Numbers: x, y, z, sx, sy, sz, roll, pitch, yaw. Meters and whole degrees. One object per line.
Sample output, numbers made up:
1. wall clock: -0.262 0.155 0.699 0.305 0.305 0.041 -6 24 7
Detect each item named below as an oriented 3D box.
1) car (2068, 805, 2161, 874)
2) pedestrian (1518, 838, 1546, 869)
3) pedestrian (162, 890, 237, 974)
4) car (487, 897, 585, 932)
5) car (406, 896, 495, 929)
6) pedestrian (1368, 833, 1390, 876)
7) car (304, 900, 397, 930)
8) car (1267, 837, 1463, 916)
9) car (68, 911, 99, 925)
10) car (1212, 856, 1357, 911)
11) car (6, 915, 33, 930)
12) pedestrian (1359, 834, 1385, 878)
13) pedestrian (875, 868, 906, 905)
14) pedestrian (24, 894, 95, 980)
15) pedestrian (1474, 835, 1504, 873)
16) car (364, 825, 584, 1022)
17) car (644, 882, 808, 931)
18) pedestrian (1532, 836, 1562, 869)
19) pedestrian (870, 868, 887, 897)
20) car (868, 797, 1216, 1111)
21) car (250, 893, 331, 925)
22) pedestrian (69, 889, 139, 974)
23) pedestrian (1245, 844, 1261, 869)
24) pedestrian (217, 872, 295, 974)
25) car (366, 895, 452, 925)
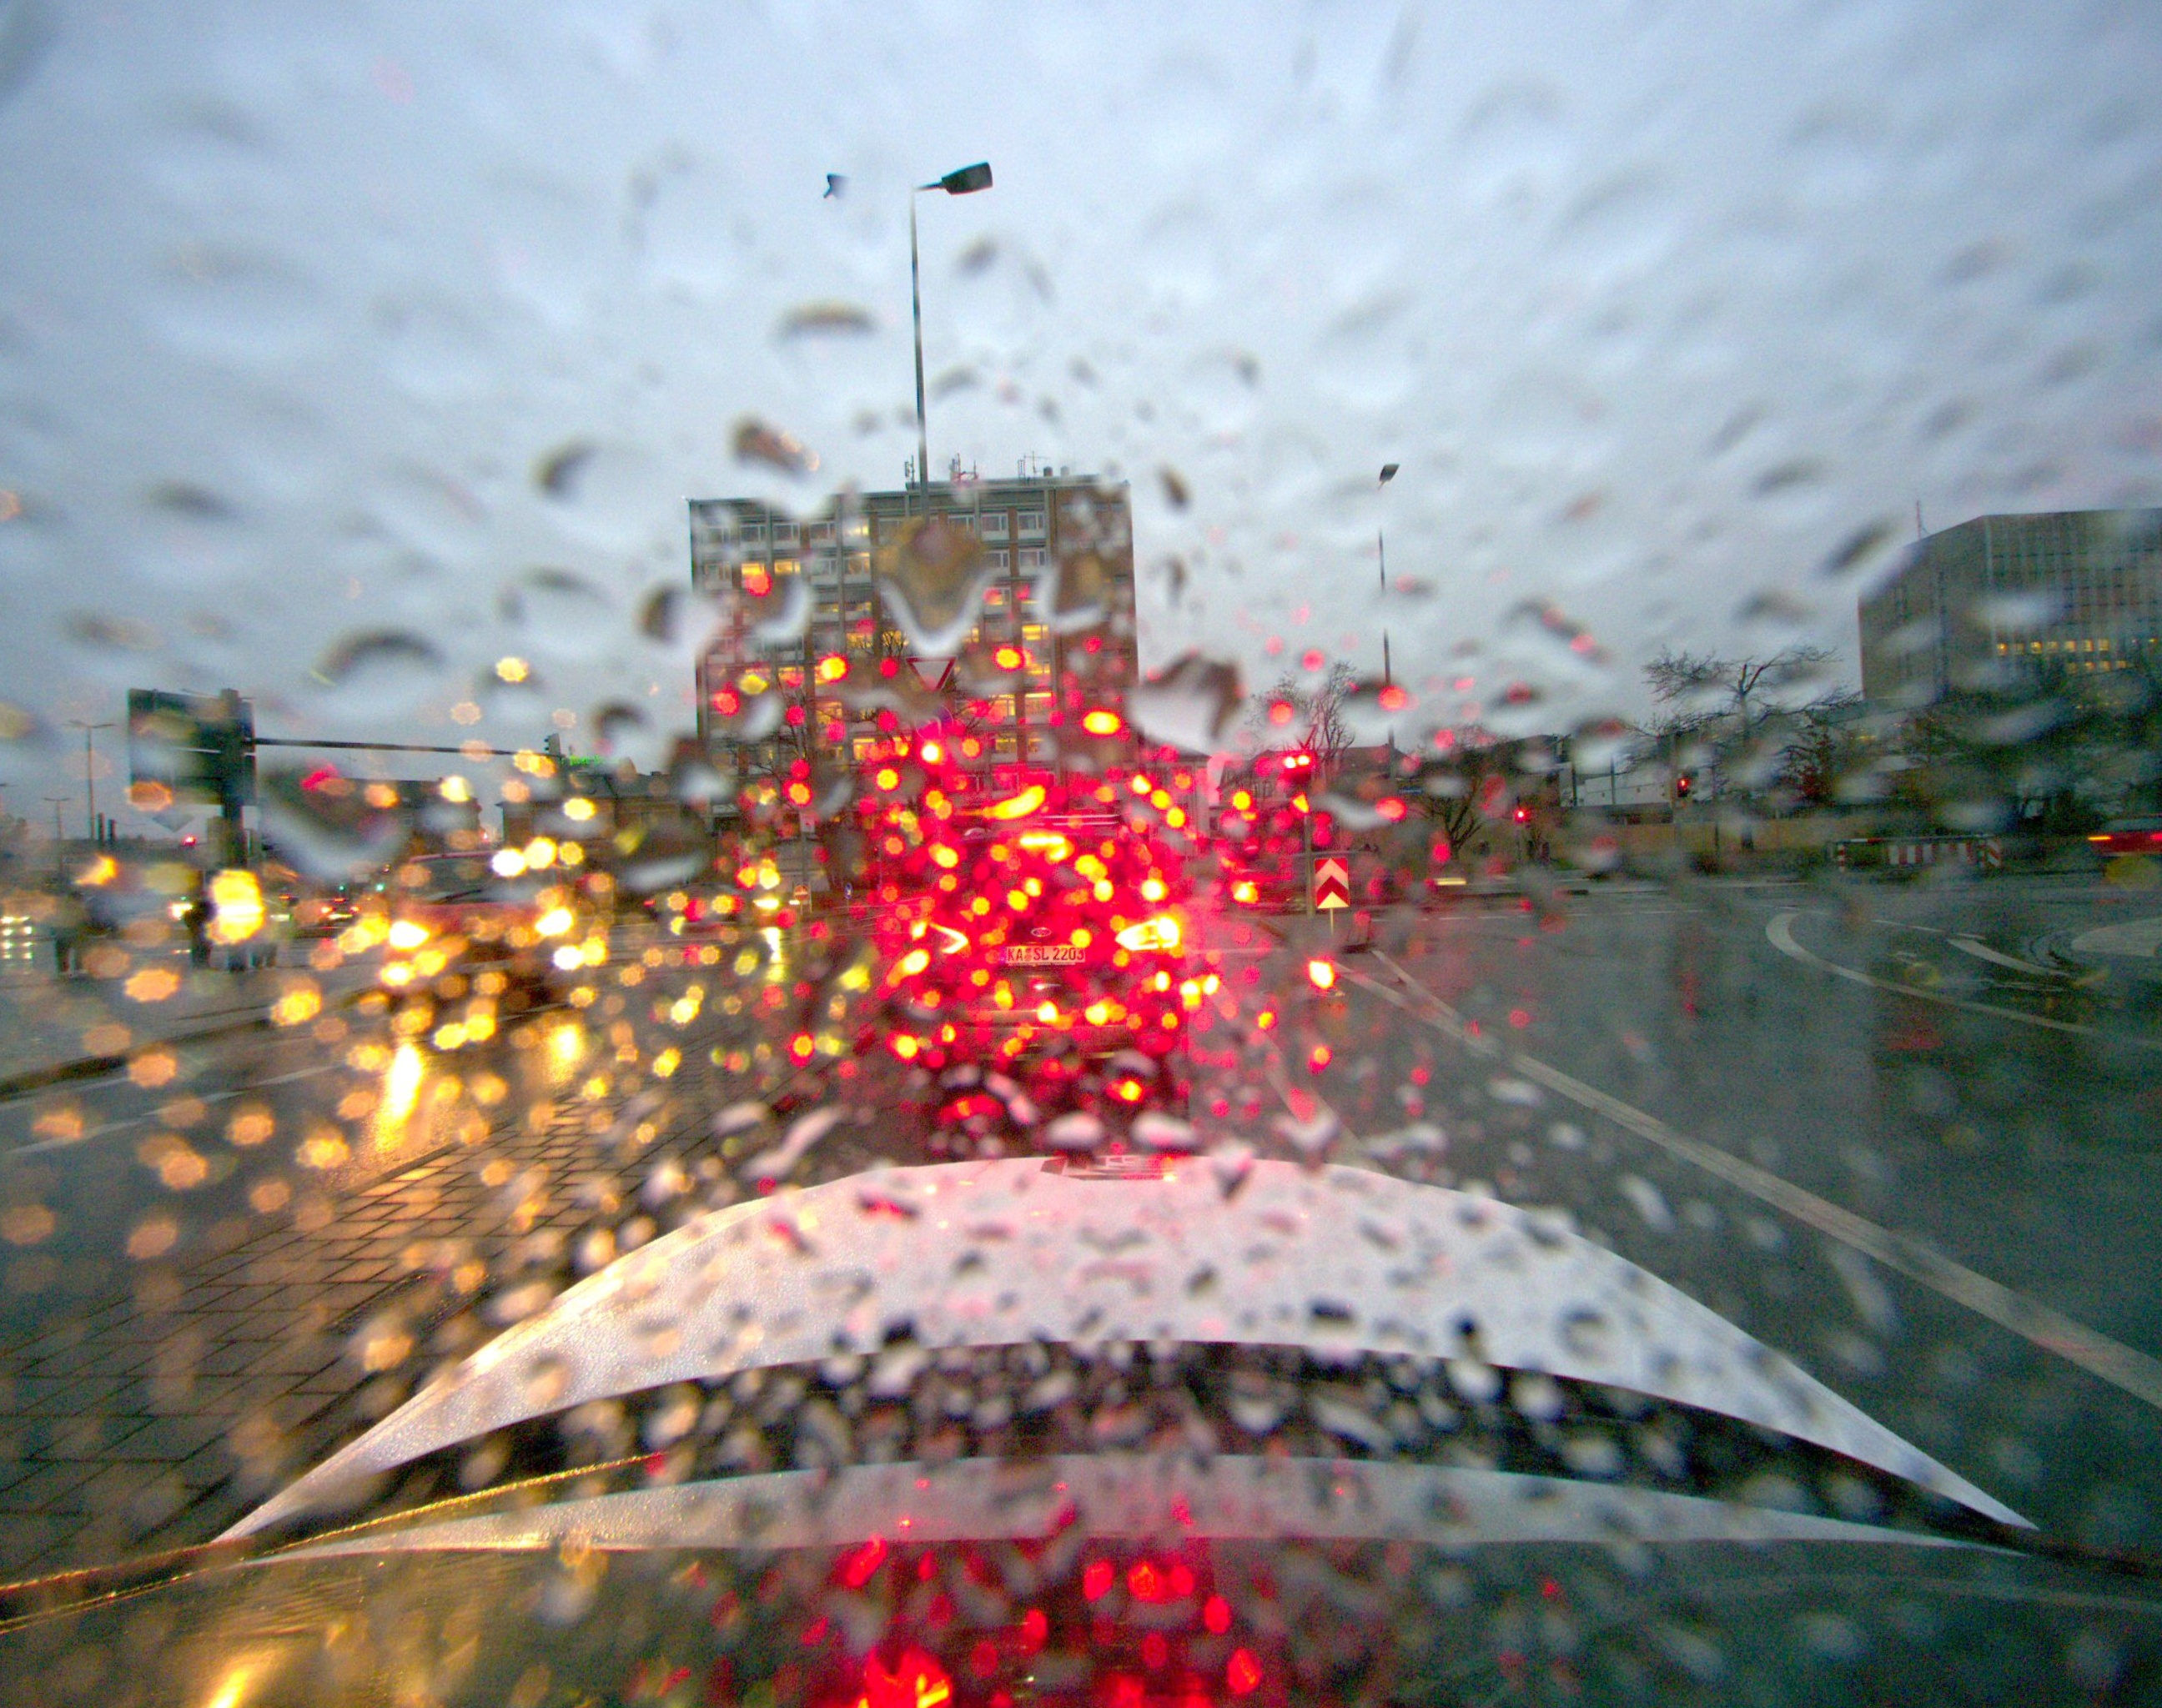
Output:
1. car: 26.690 -0.427 19.236 4.101 1.582 1.845 -3 -1 8
2. pedestrian: 22.618 -0.028 40.858 0.889 1.533 0.887 -3 0 5
3. pedestrian: -19.544 1.709 18.068 0.653 1.755 0.856 -3 0 18
4. car: -27.052 2.991 40.460 3.959 1.568 1.833 -1 -1 13
5. car: -33.330 3.060 43.070 3.954 1.568 1.836 -1 -1 20
6. pedestrian: 15.204 0.038 41.582 0.887 2.113 0.889 -3 0 13
7. car: -43.822 3.627 48.912 1.582 1.482 3.840 -1 -1 31
8. car: 6.549 0.536 19.225 4.095 1.582 1.848 -3 -1 13
9. car: -133.054 8.532 108.640 1.747 1.509 3.954 -3 0 -38
10. car: 5.604 0.814 22.766 3.731 1.302 1.706 -3 -1 10
11. car: -121.440 7.844 93.180 3.948 1.509 1.750 -3 0 39
12. pedestrian: 14.542 0.082 40.718 0.890 2.113 0.886 -3 0 2
13. pedestrian: -10.100 1.721 43.186 0.992 1.842 1.146 -3 2 25
14. pedestrian: -22.236 1.790 17.741 0.542 1.770 0.746 -3 0 15
15. pedestrian: 20.491 -0.009 40.899 0.991 1.799 0.921 -3 0 7
16. car: -8.113 0.811 11.305 1.937 2.070 4.596 -3 0 -32
17. car: -11.554 1.711 26.600 4.649 1.302 1.947 -3 -1 15
18. pedestrian: 22.749 -0.092 39.791 0.919 1.533 1.045 -3 0 9
19. pedestrian: -12.271 1.720 49.311 0.634 1.688 0.640 -3 0 18
20. car: -0.165 0.591 6.682 1.986 1.789 4.001 0 -1 2
21. car: -51.160 3.537 52.766 1.649 1.826 3.609 -1 -1 39
22. pedestrian: -22.104 1.743 18.427 0.669 1.838 0.738 -3 0 16
23. pedestrian: 11.713 0.181 55.510 0.712 1.628 0.767 -3 0 34
24. pedestrian: -17.430 1.426 17.229 0.996 2.021 0.792 -3 0 -39
25. car: -38.404 3.180 46.614 1.496 1.461 3.453 -1 -1 31
